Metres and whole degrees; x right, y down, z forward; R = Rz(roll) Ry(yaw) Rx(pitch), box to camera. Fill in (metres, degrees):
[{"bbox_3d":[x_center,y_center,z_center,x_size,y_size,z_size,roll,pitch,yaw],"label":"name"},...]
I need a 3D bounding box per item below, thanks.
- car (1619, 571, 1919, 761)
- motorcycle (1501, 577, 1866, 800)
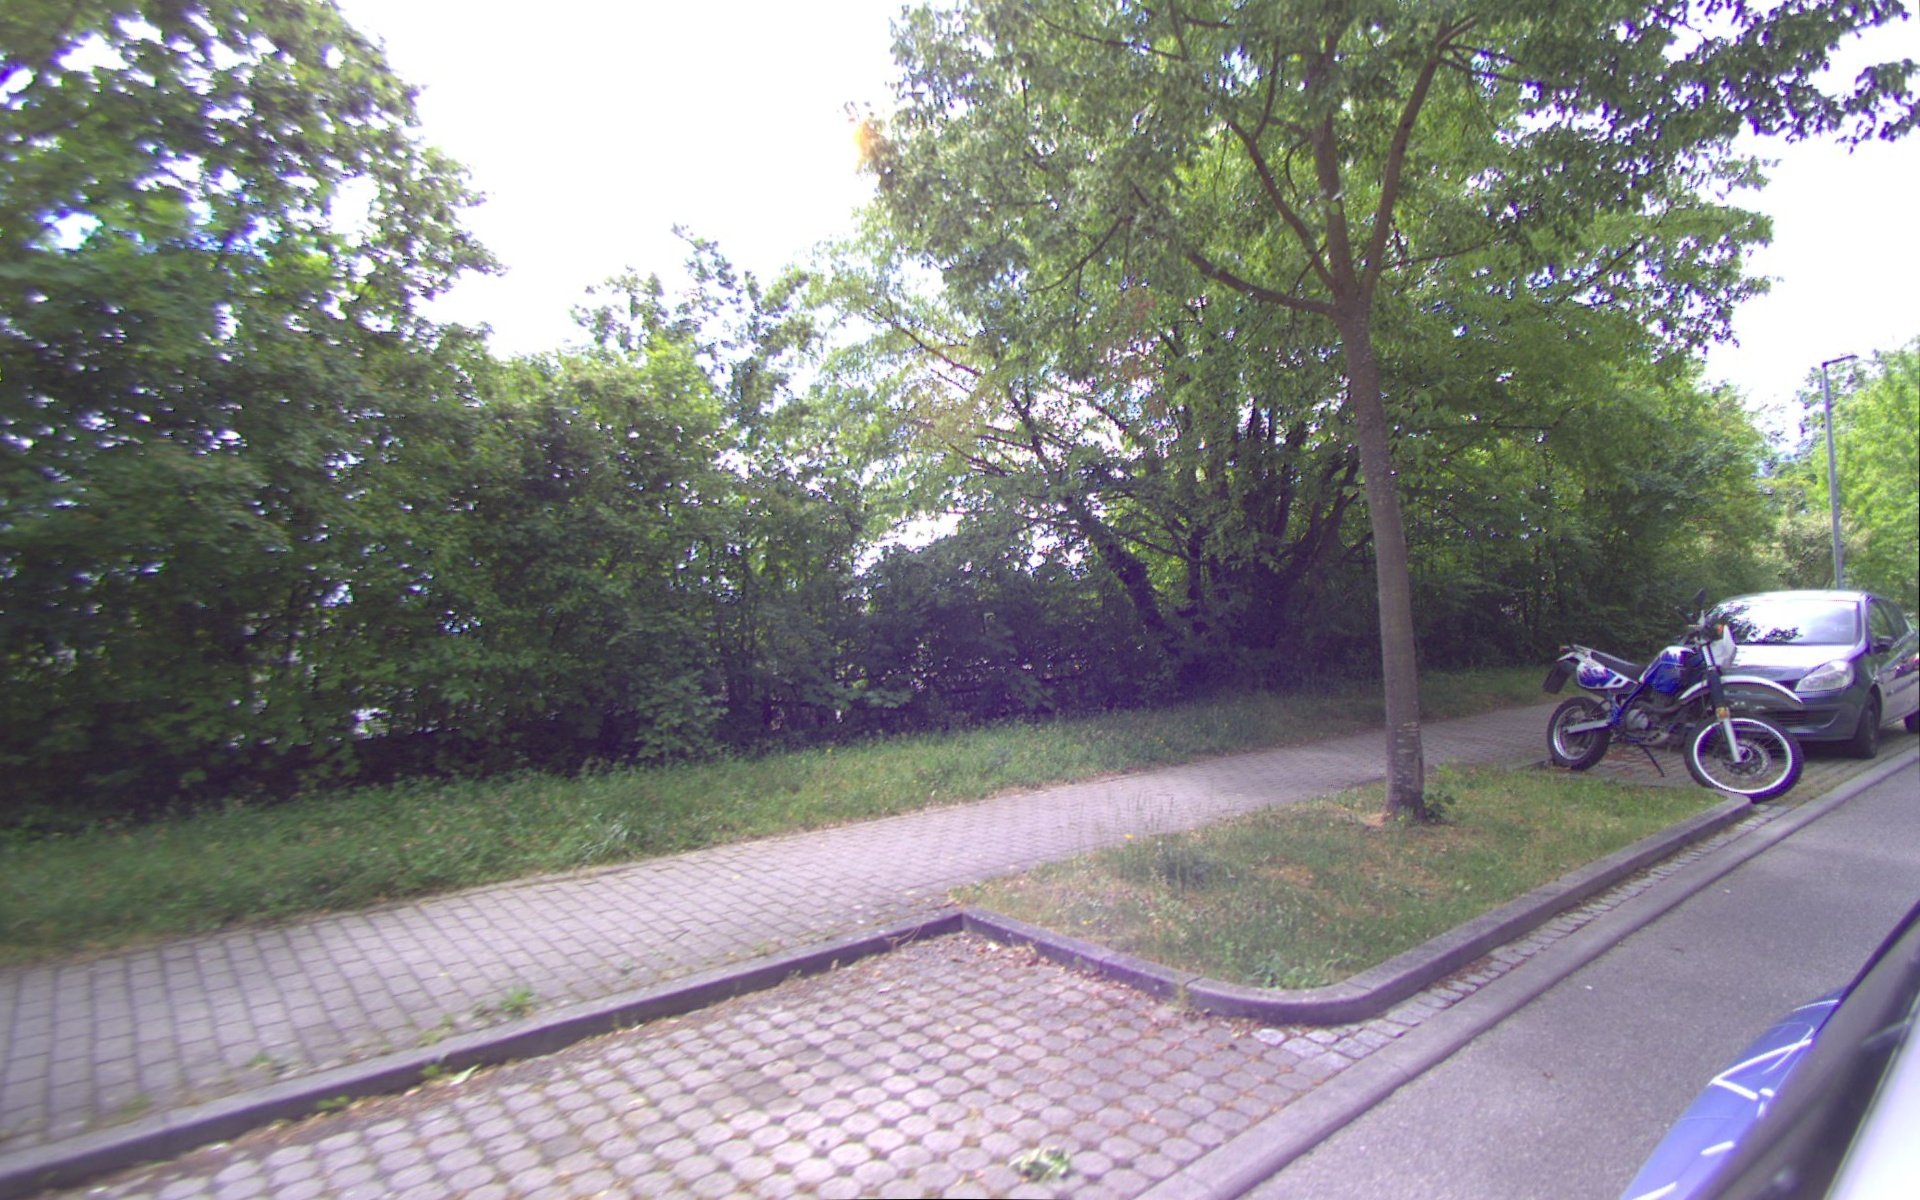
[{"bbox_3d":[8.540,0.517,10.227,4.030,1.537,1.774,-2,0,-36],"label":"car"},{"bbox_3d":[5.579,0.579,8.064,0.955,1.494,2.317,-1,1,-12],"label":"motorcycle"}]
